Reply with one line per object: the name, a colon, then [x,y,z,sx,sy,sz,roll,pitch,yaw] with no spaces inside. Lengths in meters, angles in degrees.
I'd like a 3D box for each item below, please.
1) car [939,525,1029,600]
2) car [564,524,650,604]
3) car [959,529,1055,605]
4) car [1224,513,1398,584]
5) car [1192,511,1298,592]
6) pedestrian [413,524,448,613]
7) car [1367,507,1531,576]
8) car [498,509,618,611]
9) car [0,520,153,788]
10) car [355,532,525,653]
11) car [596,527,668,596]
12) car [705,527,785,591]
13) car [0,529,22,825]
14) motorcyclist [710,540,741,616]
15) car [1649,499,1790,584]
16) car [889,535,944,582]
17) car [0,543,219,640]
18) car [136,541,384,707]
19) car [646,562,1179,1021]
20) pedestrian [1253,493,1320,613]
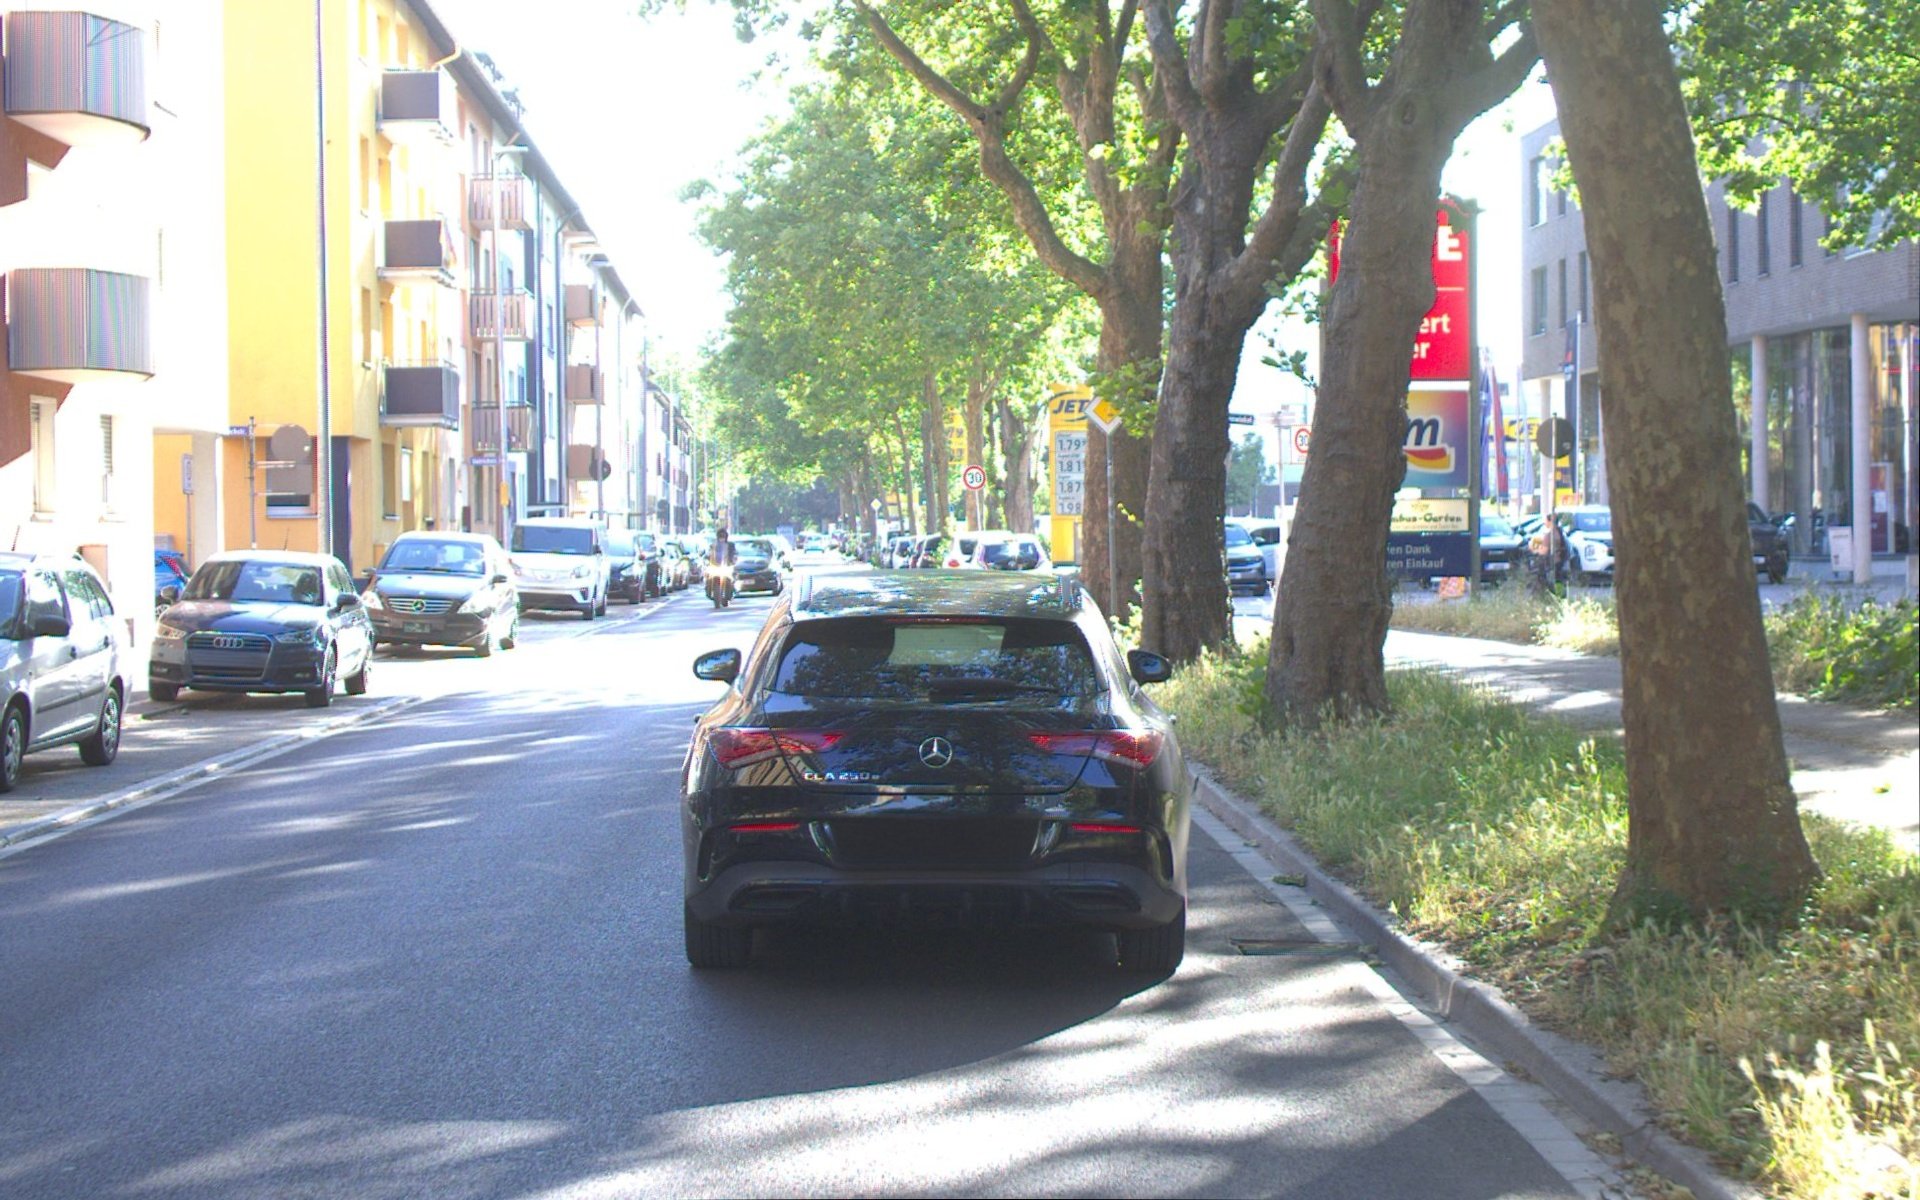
car: [0.503,-0.845,77.607,1.810,1.533,4.583,-3,1,-1]
car: [-8.141,-0.858,79.518,1.745,1.781,4.550,1,1,-3]
car: [0.939,-0.677,70.784,1.635,1.463,4.022,-2,1,-3]
car: [8.070,-1.186,78.985,3.807,1.540,1.662,-2,2,-35]
car: [6.066,-1.053,73.581,1.752,1.664,4.159,-1,1,-2]
pedestrian: [-10.722,-0.649,69.612,0.587,1.784,0.642,-1,1,-1]
car: [11.682,-1.394,82.061,3.808,1.505,1.643,-3,2,-37]
car: [-7.732,-0.803,66.476,1.734,1.900,5.209,0,1,0]
car: [-6.736,0.282,23.117,1.678,1.636,3.985,1,1,0]
car: [-6.969,-0.134,46.406,1.678,1.518,4.021,1,1,0]
car: [-8.194,-0.986,86.131,1.596,1.635,4.413,1,1,-3]
car: [-5.289,-1.035,85.033,1.771,1.473,4.322,-2,2,-1]
car: [-6.258,0.455,17.160,1.908,1.636,4.577,1,1,0]
motorcyclist: [-5.009,-0.469,73.459,0.585,1.599,0.832,-1,1,-2]
car: [16.223,-1.264,73.618,1.985,1.727,4.181,-1,1,-1]
car: [-1.500,-1.417,118.053,1.722,1.552,3.601,1,1,-3]
car: [-14.687,-0.150,58.464,3.783,1.561,1.749,-1,1,-1]
car: [-6.732,0.191,33.393,1.678,1.481,3.601,1,1,0]
car: [-0.066,0.609,13.345,1.744,1.438,3.969,1,1,3]
pedestrian: [4.912,-0.704,51.695,0.767,1.755,0.664,-3,1,-12]
